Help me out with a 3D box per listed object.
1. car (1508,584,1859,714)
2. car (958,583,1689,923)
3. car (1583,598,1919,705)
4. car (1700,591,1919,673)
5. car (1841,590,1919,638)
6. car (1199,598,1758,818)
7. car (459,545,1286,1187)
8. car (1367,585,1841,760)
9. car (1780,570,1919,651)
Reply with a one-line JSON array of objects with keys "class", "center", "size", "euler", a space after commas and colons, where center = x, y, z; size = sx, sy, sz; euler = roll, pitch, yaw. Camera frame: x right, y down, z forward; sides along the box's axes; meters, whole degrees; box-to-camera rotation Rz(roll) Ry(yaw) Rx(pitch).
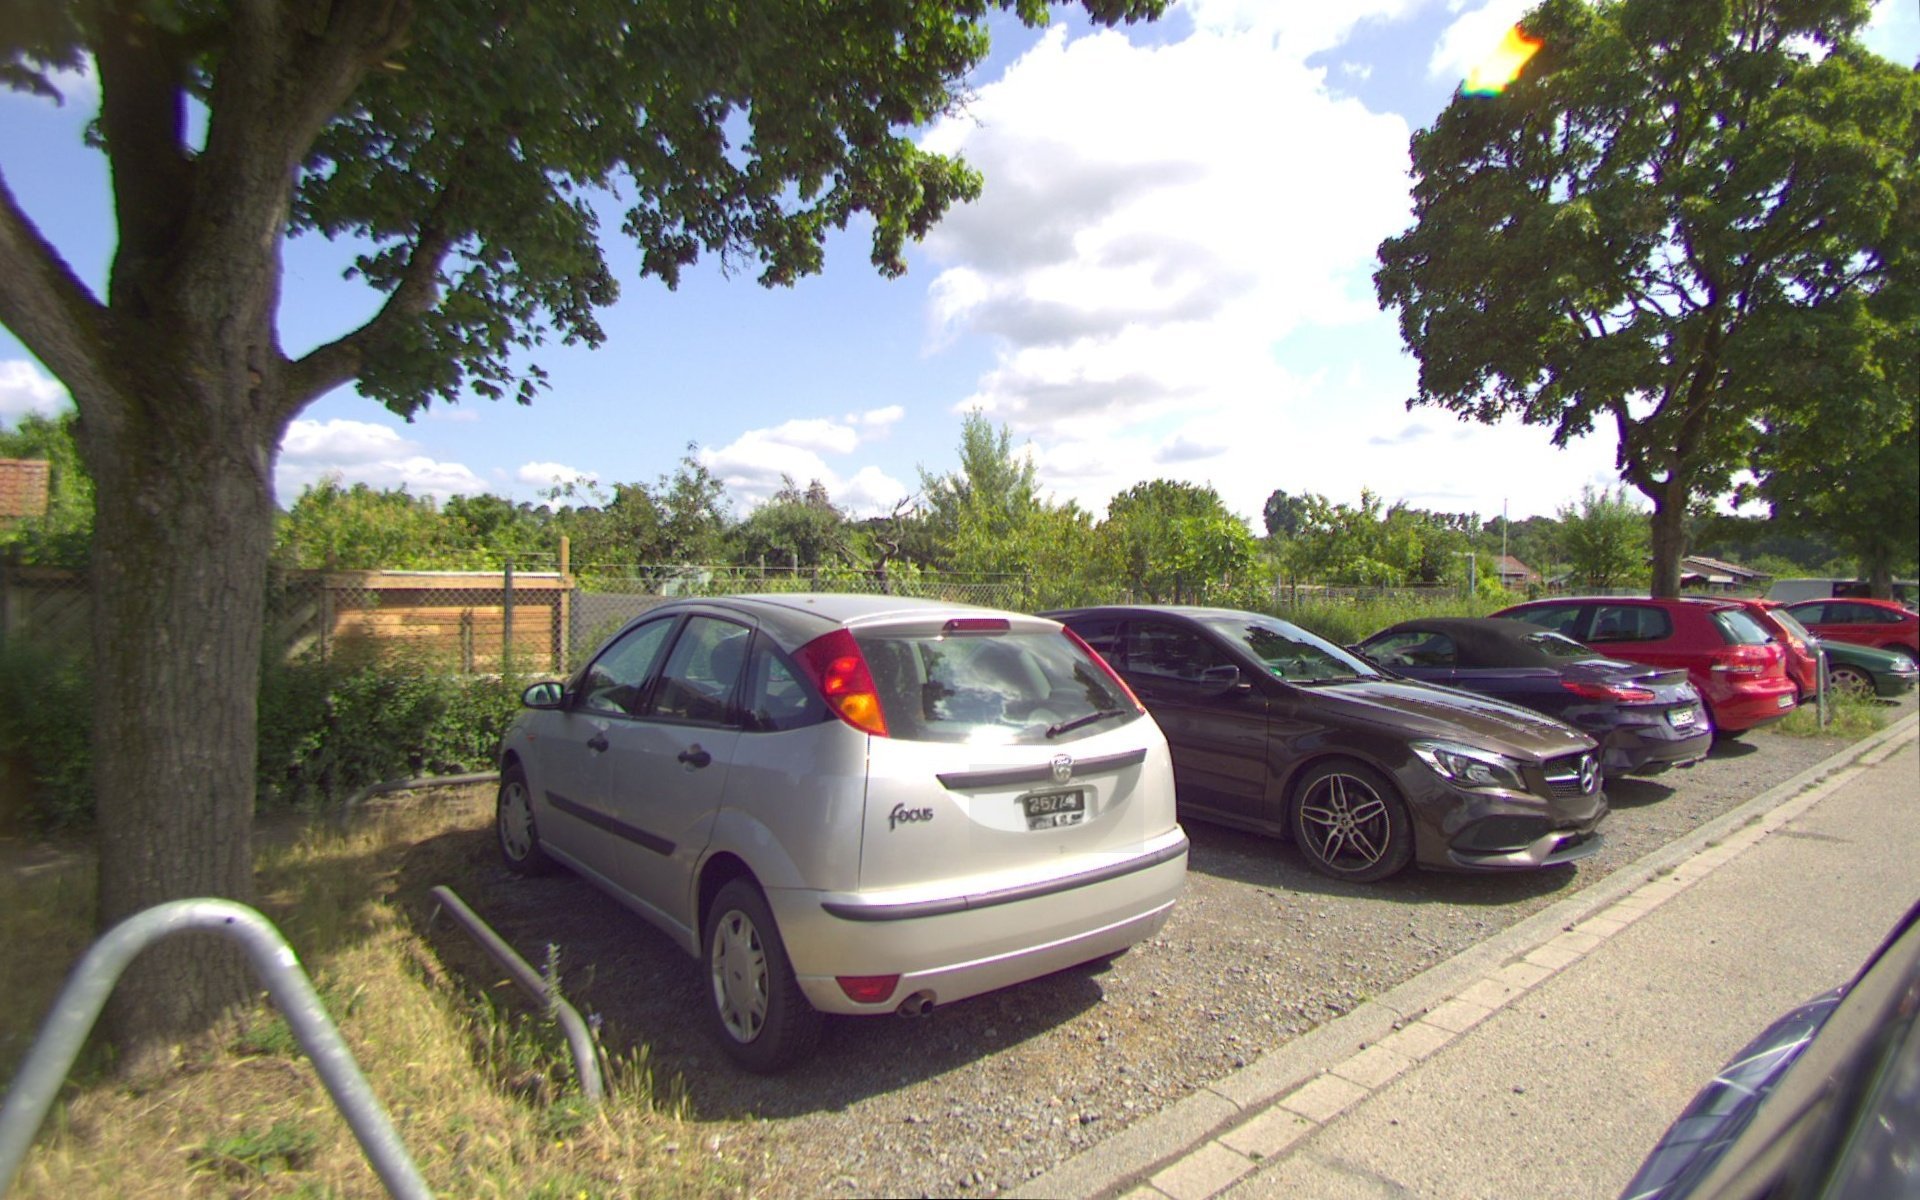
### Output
[{"class": "car", "center": [10.232, 0.596, 14.523], "size": [1.837, 1.593, 3.771], "euler": [-1, 0, -40]}, {"class": "car", "center": [2.020, 0.655, 6.533], "size": [1.838, 1.474, 4.071], "euler": [-1, 0, -42]}, {"class": "car", "center": [12.507, 0.709, 15.968], "size": [1.877, 1.446, 4.242], "euler": [-1, 0, -43]}, {"class": "car", "center": [17.876, 0.597, 20.608], "size": [1.844, 1.523, 4.193], "euler": [-1, 0, -39]}, {"class": "car", "center": [30.783, 0.442, 31.744], "size": [1.966, 1.484, 4.583], "euler": [0, 1, -43]}, {"class": "car", "center": [4.268, 0.714, 8.858], "size": [1.921, 1.441, 3.921], "euler": [-1, 0, -37]}, {"class": "car", "center": [-0.831, 0.624, 4.637], "size": [1.921, 1.530, 4.075], "euler": [-1, 0, -37]}, {"class": "car", "center": [6.798, 0.635, 11.082], "size": [1.820, 1.539, 3.998], "euler": [-1, 0, -36]}, {"class": "car", "center": [23.717, 0.255, 25.336], "size": [2.075, 1.910, 4.643], "euler": [0, 2, -41]}]
